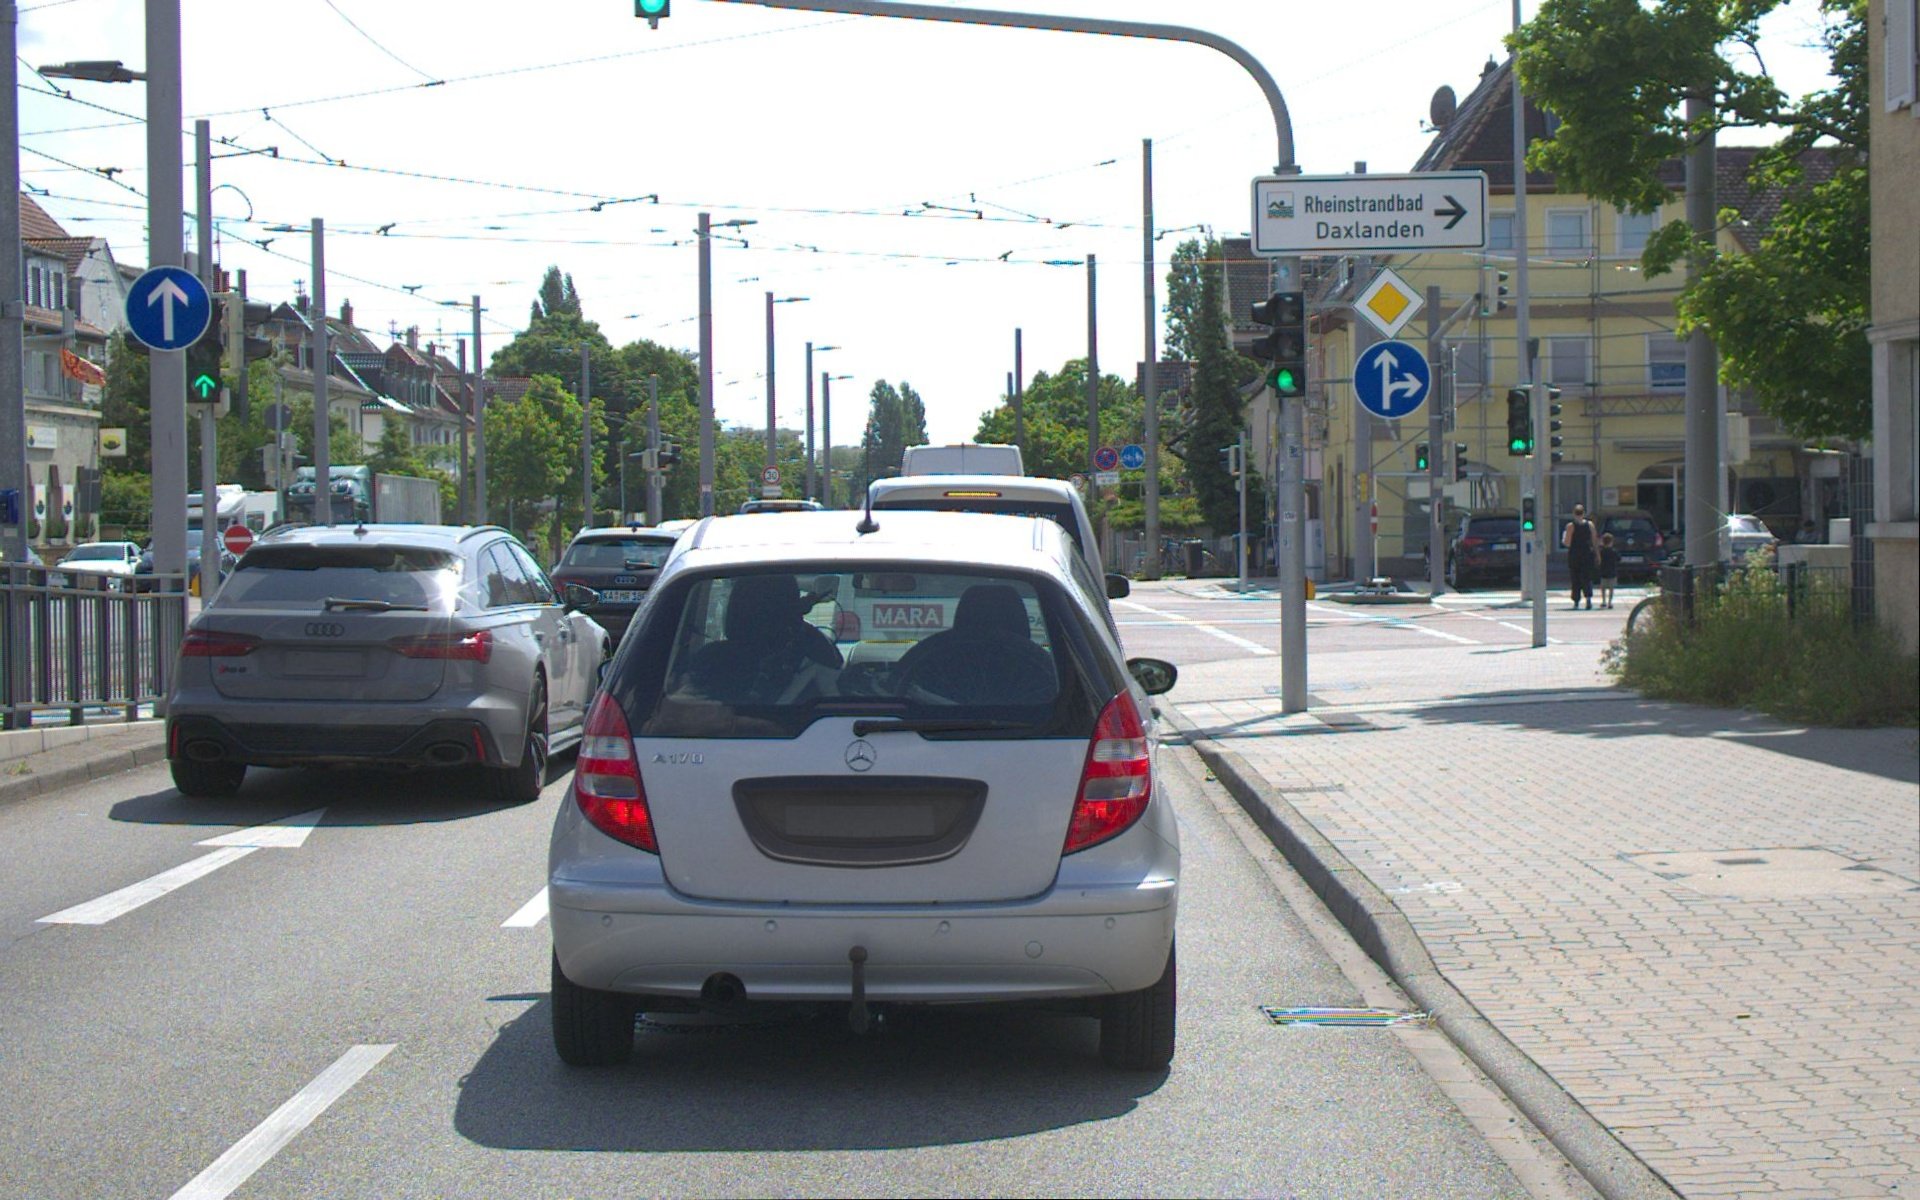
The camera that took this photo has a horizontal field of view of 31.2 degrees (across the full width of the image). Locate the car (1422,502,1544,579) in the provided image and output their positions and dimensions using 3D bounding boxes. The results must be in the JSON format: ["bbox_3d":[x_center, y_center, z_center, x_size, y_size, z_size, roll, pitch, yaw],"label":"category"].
[{"bbox_3d":[11.241,-1.274,74.165,1.993,1.590,4.131,1,1,0],"label":"car"}]

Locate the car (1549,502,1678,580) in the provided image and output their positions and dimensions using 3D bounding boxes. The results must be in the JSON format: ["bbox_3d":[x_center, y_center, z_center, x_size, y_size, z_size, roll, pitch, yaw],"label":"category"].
[{"bbox_3d":[14.066,-1.262,74.251,1.993,1.590,4.131,1,1,0],"label":"car"}]

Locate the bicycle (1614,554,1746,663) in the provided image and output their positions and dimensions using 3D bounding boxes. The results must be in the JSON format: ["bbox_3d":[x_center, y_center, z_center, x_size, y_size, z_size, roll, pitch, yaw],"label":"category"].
[{"bbox_3d":[6.942,0.077,33.107,0.463,1.015,1.752,1,1,40],"label":"bicycle"}]

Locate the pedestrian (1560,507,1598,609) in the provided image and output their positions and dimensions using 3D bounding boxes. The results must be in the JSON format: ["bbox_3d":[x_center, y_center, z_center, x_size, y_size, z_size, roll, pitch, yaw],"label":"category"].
[{"bbox_3d":[10.051,-0.681,55.836,0.547,1.638,0.401,1,1,5],"label":"pedestrian"}]

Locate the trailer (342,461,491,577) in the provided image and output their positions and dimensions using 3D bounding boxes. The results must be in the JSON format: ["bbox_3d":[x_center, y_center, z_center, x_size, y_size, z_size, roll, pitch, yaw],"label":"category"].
[{"bbox_3d":[-19.251,-2.958,122.583,2.599,3.808,12.837,-3,2,2],"label":"trailer"}]

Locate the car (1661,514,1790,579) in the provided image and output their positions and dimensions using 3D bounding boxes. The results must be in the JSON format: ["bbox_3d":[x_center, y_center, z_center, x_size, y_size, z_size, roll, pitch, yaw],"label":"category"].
[{"bbox_3d":[16.514,-1.147,74.335,1.867,1.347,4.131,1,1,0],"label":"car"}]

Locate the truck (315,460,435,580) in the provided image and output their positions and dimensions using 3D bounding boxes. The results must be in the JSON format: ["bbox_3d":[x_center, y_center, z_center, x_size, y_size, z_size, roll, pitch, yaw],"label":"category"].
[{"bbox_3d":[-19.578,-2.707,115.352,2.599,3.808,5.667,-3,2,3],"label":"truck"}]

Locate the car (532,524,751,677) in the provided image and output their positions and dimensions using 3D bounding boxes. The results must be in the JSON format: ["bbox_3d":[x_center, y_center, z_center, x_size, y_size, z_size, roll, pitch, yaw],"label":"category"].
[{"bbox_3d":[-3.075,-0.027,33.975,1.852,1.383,4.515,1,1,-2],"label":"car"}]

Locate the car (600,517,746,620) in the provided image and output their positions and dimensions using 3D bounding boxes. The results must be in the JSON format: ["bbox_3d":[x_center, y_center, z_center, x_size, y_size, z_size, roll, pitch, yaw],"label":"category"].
[{"bbox_3d":[-4.058,-0.458,49.152,1.852,1.383,3.919,1,1,-2],"label":"car"}]

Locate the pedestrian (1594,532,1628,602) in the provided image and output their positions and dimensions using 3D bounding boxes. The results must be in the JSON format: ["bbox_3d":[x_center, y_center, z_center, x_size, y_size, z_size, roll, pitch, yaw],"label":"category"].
[{"bbox_3d":[10.588,-0.539,55.903,0.488,1.132,0.389,1,1,6],"label":"pedestrian"}]

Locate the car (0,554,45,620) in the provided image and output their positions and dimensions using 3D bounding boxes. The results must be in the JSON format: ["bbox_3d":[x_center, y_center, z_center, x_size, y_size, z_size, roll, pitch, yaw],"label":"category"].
[{"bbox_3d":[-20.945,-0.300,73.473,1.684,1.347,4.345,1,1,-1],"label":"car"}]

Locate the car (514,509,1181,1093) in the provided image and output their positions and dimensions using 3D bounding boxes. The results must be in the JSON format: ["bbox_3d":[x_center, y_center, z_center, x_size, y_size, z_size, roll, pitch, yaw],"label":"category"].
[{"bbox_3d":[-0.369,0.507,11.064,1.730,1.511,4.017,1,1,-2],"label":"car"}]

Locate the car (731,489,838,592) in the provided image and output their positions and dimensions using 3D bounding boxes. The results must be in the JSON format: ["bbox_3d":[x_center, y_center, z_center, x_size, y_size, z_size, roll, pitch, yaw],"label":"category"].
[{"bbox_3d":[-3.231,-1.098,63.903,1.852,1.837,3.919,1,1,-2],"label":"car"}]

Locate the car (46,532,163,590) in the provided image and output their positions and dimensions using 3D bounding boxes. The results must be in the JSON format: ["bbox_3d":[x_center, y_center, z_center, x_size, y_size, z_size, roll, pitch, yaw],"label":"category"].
[{"bbox_3d":[-20.672,-0.945,83.241,1.684,1.347,4.345,1,1,1],"label":"car"}]

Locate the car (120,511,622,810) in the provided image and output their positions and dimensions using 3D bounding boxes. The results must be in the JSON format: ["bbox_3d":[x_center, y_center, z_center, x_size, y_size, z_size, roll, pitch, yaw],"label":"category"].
[{"bbox_3d":[-3.191,0.266,19.587,1.916,1.472,4.562,1,1,2],"label":"car"}]

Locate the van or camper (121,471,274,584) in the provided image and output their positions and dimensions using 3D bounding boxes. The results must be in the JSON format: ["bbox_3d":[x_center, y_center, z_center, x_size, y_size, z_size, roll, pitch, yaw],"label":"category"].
[{"bbox_3d":[-20.578,-1.964,93.193,2.324,2.919,7.755,-1,1,1],"label":"van or camper"}]

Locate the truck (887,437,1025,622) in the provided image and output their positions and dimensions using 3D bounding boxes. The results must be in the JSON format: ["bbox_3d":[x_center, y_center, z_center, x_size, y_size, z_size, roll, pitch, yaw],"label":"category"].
[{"bbox_3d":[-0.118,-1.024,51.054,1.852,2.543,5.855,1,1,-2],"label":"truck"}]

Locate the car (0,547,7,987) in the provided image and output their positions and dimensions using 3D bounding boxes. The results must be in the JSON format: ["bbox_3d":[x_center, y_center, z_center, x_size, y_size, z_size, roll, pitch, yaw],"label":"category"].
[{"bbox_3d":[-3.375,0.593,7.035,1.731,1.444,4.123,1,1,-1],"label":"car"}]

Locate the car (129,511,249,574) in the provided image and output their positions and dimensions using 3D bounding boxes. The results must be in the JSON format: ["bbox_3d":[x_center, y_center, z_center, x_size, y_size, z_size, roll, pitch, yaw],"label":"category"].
[{"bbox_3d":[-17.154,-1.272,76.677,1.684,1.347,4.178,1,1,1],"label":"car"}]

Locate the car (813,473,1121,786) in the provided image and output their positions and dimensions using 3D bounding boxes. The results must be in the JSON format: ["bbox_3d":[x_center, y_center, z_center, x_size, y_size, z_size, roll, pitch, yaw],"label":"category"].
[{"bbox_3d":[-0.035,0.142,21.621,1.730,1.756,4.017,1,1,-2],"label":"car"}]
